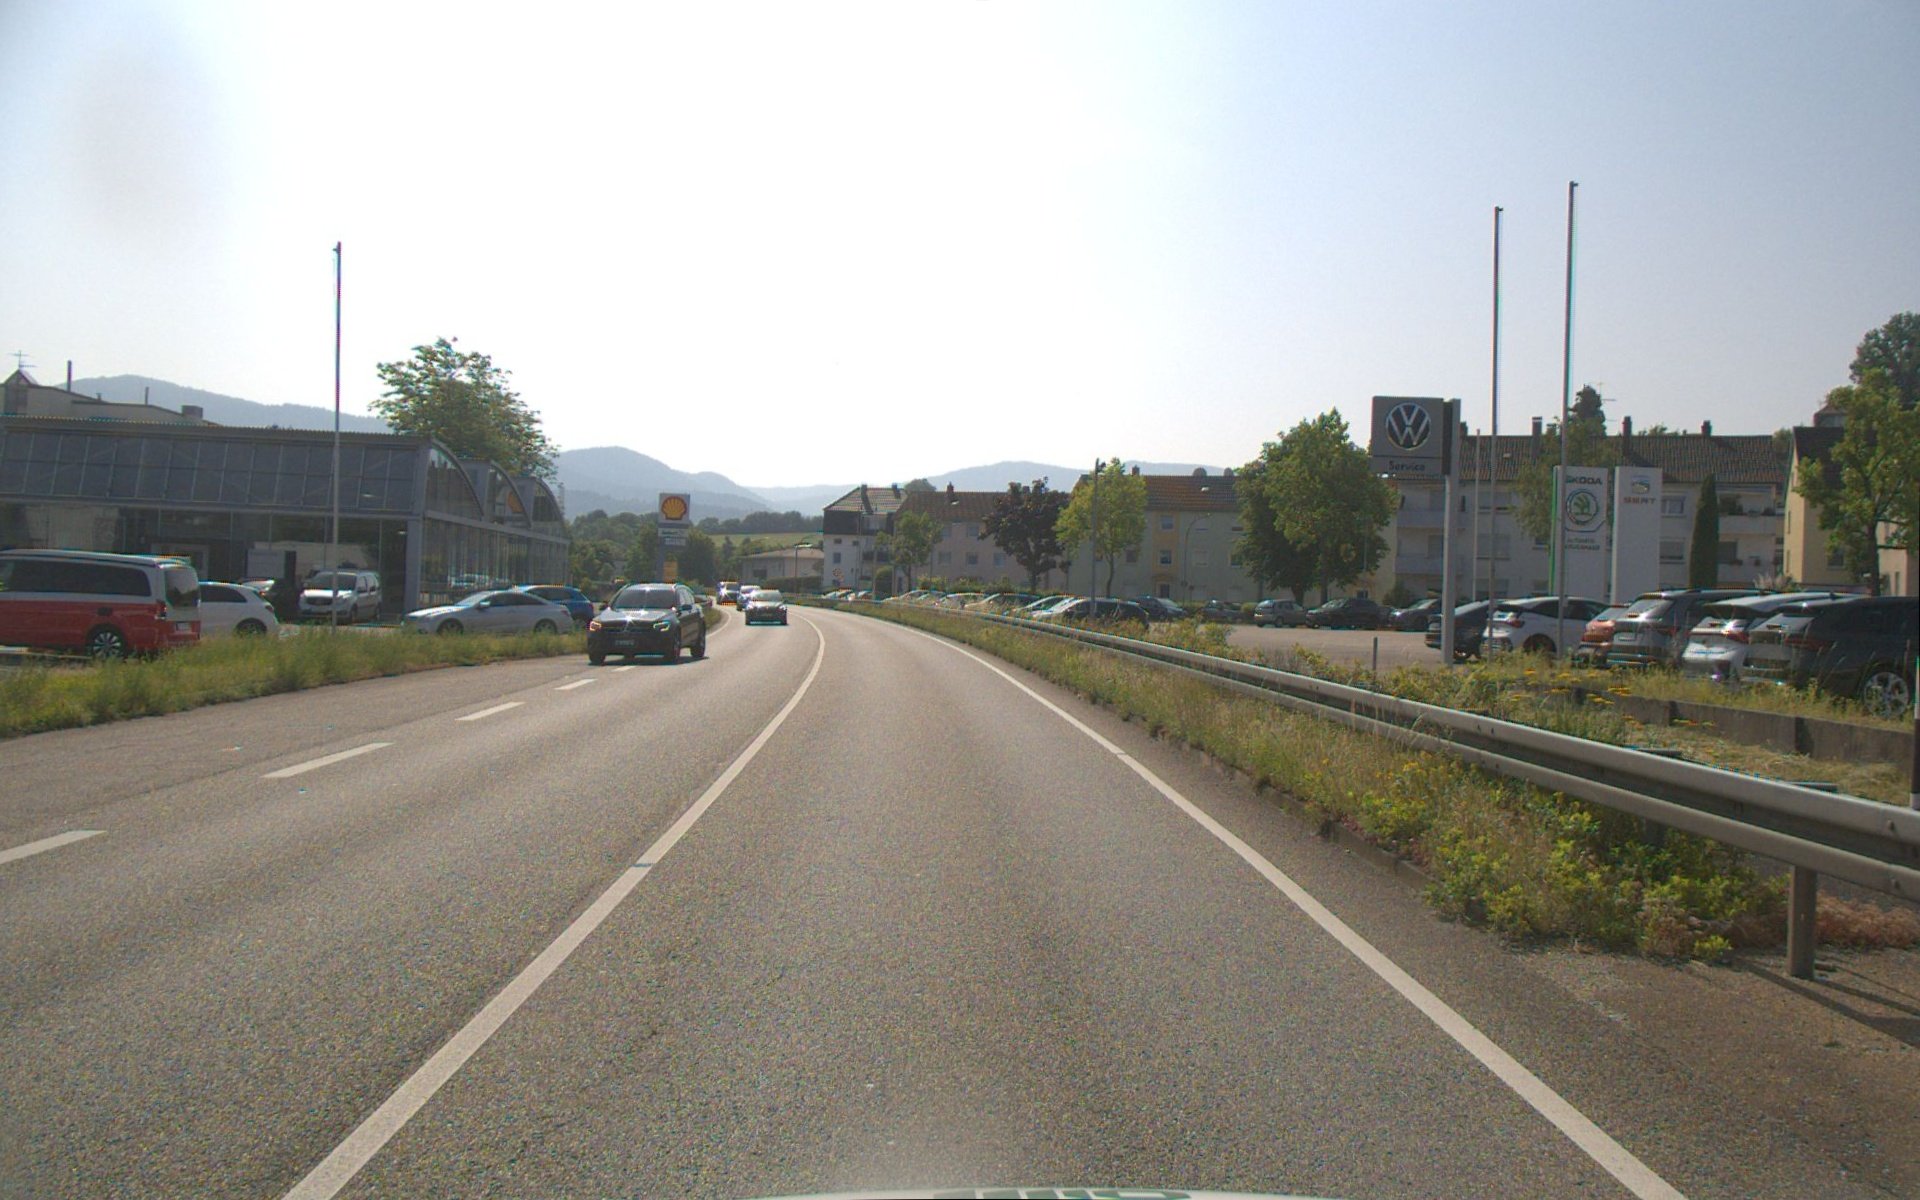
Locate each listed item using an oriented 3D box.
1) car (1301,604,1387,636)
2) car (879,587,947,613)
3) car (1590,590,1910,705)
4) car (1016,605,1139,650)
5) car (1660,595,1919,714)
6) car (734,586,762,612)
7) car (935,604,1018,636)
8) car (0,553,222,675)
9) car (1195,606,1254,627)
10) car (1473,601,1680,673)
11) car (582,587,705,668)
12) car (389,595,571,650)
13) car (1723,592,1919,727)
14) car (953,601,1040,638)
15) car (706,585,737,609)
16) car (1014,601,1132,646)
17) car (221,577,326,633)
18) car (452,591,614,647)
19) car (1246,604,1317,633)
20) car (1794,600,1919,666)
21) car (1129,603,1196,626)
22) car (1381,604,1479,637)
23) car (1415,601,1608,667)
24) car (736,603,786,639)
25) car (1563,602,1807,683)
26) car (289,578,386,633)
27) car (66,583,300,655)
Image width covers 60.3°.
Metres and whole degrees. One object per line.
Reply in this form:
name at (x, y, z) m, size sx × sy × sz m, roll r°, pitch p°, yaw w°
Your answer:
car at (20.197, 1.034, 86.881) m, size 4.437 × 1.628 × 1.822 m, roll 1°, pitch -1°, yaw -31°
car at (-3.040, 0.010, 107.337) m, size 4.237 × 1.669 × 2.137 m, roll 1°, pitch -1°, yaw -7°
car at (11.820, 0.701, 24.888) m, size 3.997 × 1.638 × 1.790 m, roll 1°, pitch -1°, yaw -5°
car at (4.120, 0.967, 58.253) m, size 4.079 × 1.517 × 1.729 m, roll -1°, pitch -1°, yaw -6°
car at (11.828, 0.725, 22.445) m, size 3.906 × 1.520 × 1.790 m, roll 1°, pitch -1°, yaw -2°
car at (-14.065, -0.081, 109.711) m, size 1.758 × 1.658 × 4.219 m, roll 0°, pitch 0°, yaw -8°
car at (0.840, 1.018, 83.924) m, size 3.916 × 1.608 × 1.773 m, roll 1°, pitch -1°, yaw -12°
car at (-16.566, 0.201, 30.641) m, size 4.698 × 2.016 × 2.227 m, roll 3°, pitch 0°, yaw -5°
car at (16.048, 1.002, 100.528) m, size 1.573 × 1.207 × 3.623 m, roll 1°, pitch -1°, yaw -31°
car at (13.869, 0.827, 37.336) m, size 4.011 × 1.542 × 1.823 m, roll 1°, pitch -1°, yaw -4°
car at (-6.821, 0.563, 36.123) m, size 1.774 × 1.658 × 4.541 m, roll 0°, pitch 0°, yaw 0°
car at (-12.772, 0.582, 44.211) m, size 4.362 × 1.391 × 1.823 m, roll 1°, pitch 0°, yaw -45°
car at (11.433, 0.695, 19.685) m, size 3.905 × 1.520 × 1.730 m, roll 1°, pitch -1°, yaw 0°
car at (1.713, 0.911, 78.123) m, size 3.911 × 1.669 × 1.884 m, roll 1°, pitch -1°, yaw -7°
car at (-19.846, -0.238, 137.562) m, size 1.883 × 1.918 × 4.889 m, roll 0°, pitch 0°, yaw -16°
car at (4.152, 0.872, 61.128) m, size 4.079 × 1.583 × 1.769 m, roll -1°, pitch -1°, yaw -6°
car at (-23.055, 0.117, 55.752) m, size 1.770 × 1.743 × 4.935 m, roll 1°, pitch 1°, yaw -4°
car at (-12.470, 0.544, 48.436) m, size 4.201 × 1.533 × 1.953 m, roll 1°, pitch 0°, yaw -45°
car at (17.432, 1.014, 89.716) m, size 3.720 × 1.548 × 1.638 m, roll 1°, pitch 0°, yaw -34°
car at (23.472, 0.804, 41.017) m, size 4.640 × 1.592 × 1.931 m, roll 0°, pitch -1°, yaw -2°
car at (12.887, 0.907, 105.263) m, size 1.889 × 1.430 × 4.476 m, roll 1°, pitch -1°, yaw -31°
car at (23.312, 1.023, 82.056) m, size 4.559 × 1.548 × 1.850 m, roll 1°, pitch -1°, yaw -24°
car at (13.315, 0.805, 40.042) m, size 4.077 × 1.542 × 1.822 m, roll 0°, pitch -1°, yaw -7°
car at (-8.686, 0.874, 71.891) m, size 1.722 × 1.500 × 4.272 m, roll 0°, pitch 0°, yaw -13°
car at (13.914, 0.812, 31.873) m, size 3.908 × 1.471 × 1.823 m, roll 1°, pitch -1°, yaw -4°
car at (-20.873, 0.143, 55.648) m, size 1.769 × 1.743 × 4.405 m, roll 1°, pitch 1°, yaw -3°
car at (-16.814, 0.437, 35.906) m, size 4.199 × 1.428 × 1.867 m, roll 3°, pitch -1°, yaw -45°
